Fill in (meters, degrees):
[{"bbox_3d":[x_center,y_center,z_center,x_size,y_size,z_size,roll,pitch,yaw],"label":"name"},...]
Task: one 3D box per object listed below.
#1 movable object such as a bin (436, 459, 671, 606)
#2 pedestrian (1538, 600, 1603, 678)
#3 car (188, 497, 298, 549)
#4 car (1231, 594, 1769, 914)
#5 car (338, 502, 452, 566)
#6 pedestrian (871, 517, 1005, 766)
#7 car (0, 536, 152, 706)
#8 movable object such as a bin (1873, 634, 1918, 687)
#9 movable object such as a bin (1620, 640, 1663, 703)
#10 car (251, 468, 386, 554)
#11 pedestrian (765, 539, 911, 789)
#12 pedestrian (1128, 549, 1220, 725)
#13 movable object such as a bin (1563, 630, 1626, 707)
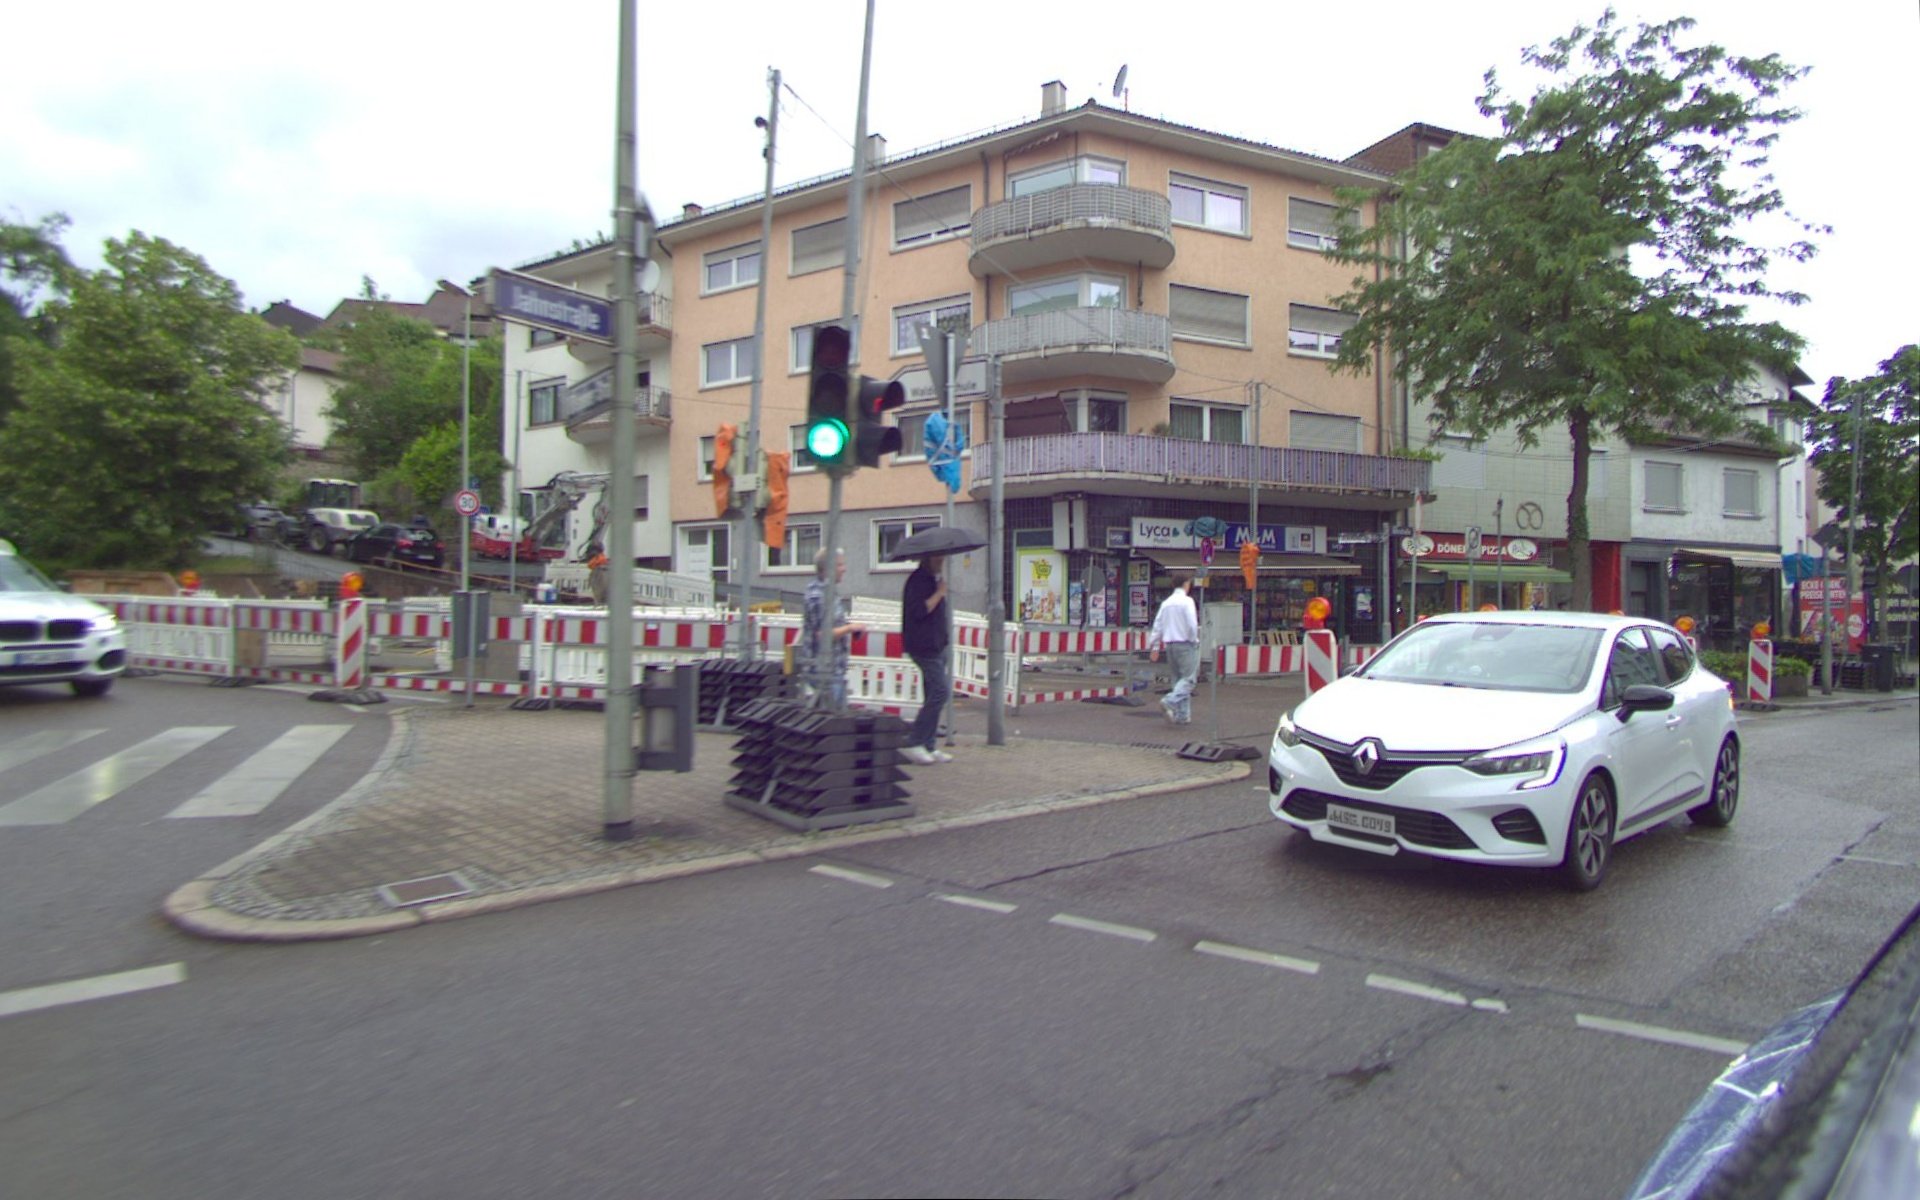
[{"bbox_3d":[-11.723,-1.967,29.039,6.486,3.681,2.713,6,2,30],"label":"movable object such as a bin"},{"bbox_3d":[14.765,0.932,24.489,0.888,1.814,0.972,0,2,-8],"label":"pedestrian"},{"bbox_3d":[-28.670,-3.078,40.427,4.511,1.584,1.870,8,3,30],"label":"car"},{"bbox_3d":[3.624,0.694,6.497,3.928,1.421,1.680,0,1,-40],"label":"car"},{"bbox_3d":[-19.093,-2.237,34.169,3.694,1.745,1.743,8,3,32],"label":"car"},{"bbox_3d":[-0.148,0.301,8.248,0.904,1.884,1.029,0,1,10],"label":"pedestrian"},{"bbox_3d":[-11.852,0.137,11.705,4.746,1.742,1.984,2,2,24],"label":"car"},{"bbox_3d":[20.851,1.332,22.552,0.652,1.125,0.580,2,0,-33],"label":"movable object such as a bin"},{"bbox_3d":[10.700,1.111,15.892,0.522,0.941,0.420,2,-1,-40],"label":"movable object such as a bin"},{"bbox_3d":[-23.891,-3.325,37.631,5.054,2.647,1.872,8,3,28],"label":"car"},{"bbox_3d":[-0.873,0.424,7.418,0.810,1.709,0.790,0,1,16],"label":"pedestrian"},{"bbox_3d":[2.453,0.401,11.574,0.654,1.903,0.980,1,-1,38],"label":"pedestrian"},{"bbox_3d":[9.122,0.974,14.557,0.522,1.044,0.622,2,-1,-40],"label":"movable object such as a bin"}]
